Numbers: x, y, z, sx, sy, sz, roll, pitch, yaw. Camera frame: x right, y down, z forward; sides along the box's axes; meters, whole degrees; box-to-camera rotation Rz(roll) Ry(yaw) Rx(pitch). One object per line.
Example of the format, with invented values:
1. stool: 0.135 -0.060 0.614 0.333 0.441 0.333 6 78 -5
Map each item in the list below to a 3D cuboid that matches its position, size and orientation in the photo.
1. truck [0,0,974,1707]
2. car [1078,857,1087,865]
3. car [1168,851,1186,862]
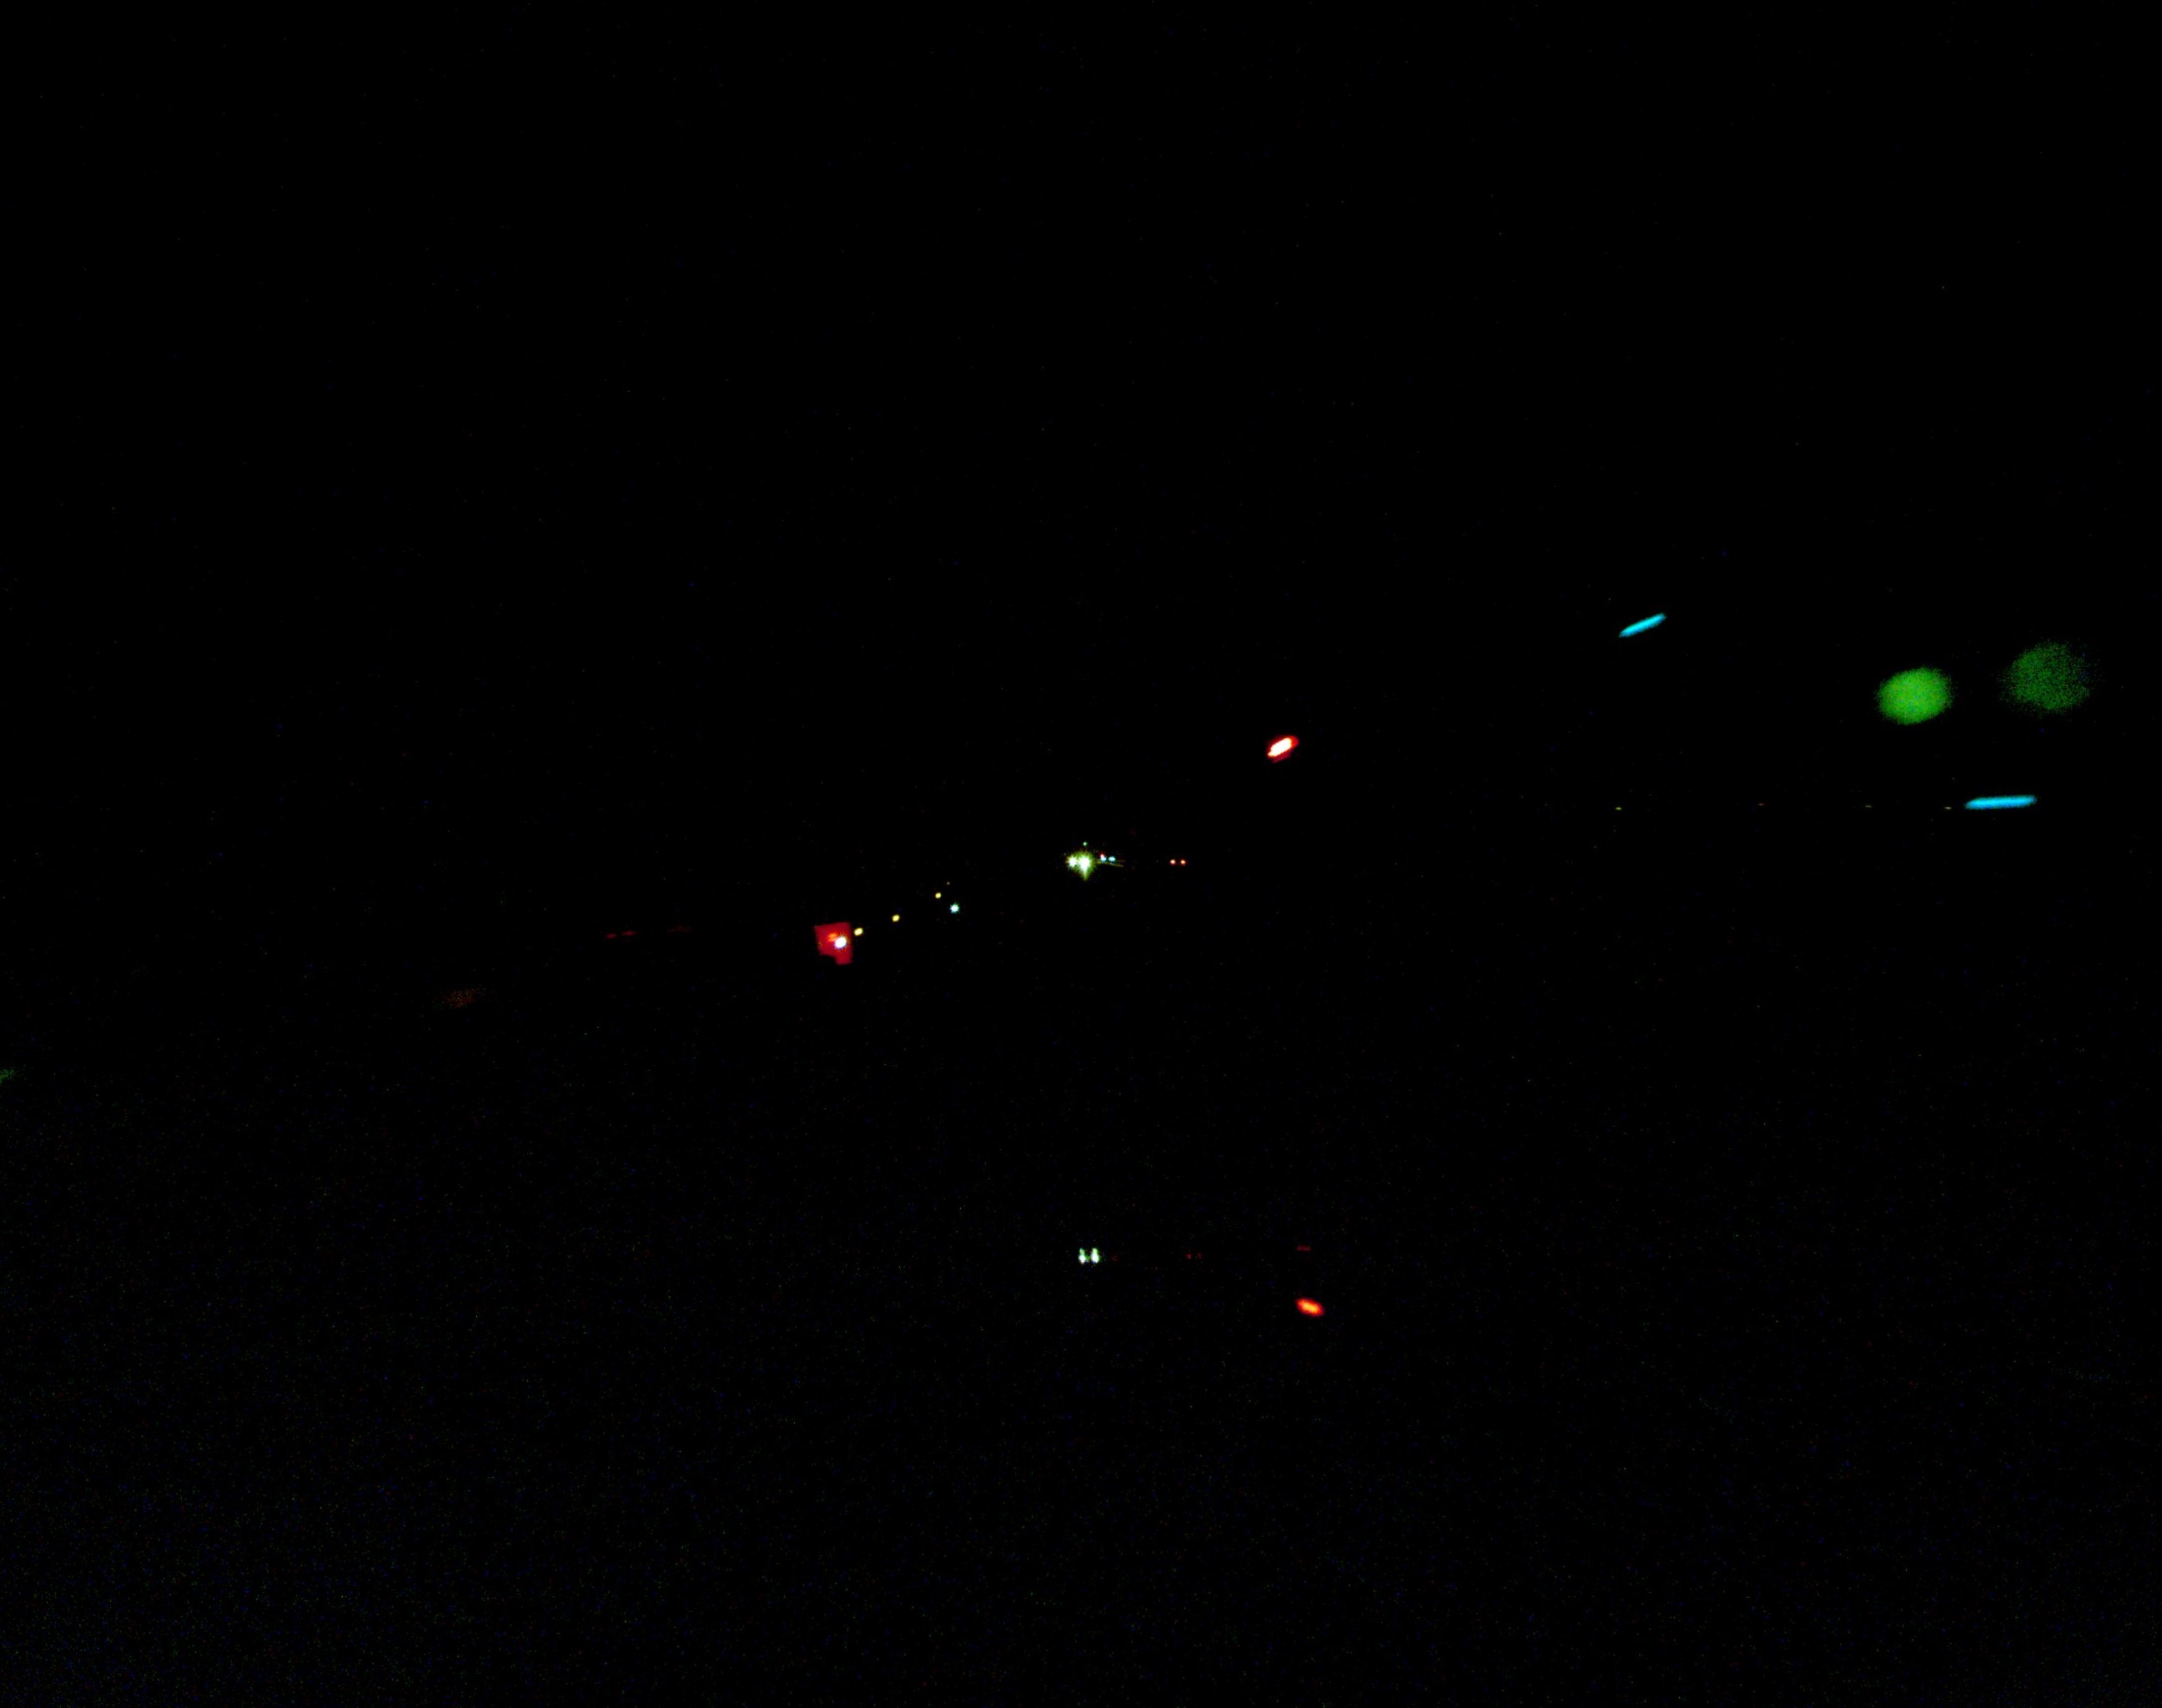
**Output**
1. truck: -3.491 -0.297 7.645 2.694 4.082 13.140 -2 0 1
2. car: 0.312 1.336 143.266 1.570 1.336 4.166 -2 0 -1
3. car: 12.133 0.323 96.148 1.609 1.322 3.939 1 0 -1
